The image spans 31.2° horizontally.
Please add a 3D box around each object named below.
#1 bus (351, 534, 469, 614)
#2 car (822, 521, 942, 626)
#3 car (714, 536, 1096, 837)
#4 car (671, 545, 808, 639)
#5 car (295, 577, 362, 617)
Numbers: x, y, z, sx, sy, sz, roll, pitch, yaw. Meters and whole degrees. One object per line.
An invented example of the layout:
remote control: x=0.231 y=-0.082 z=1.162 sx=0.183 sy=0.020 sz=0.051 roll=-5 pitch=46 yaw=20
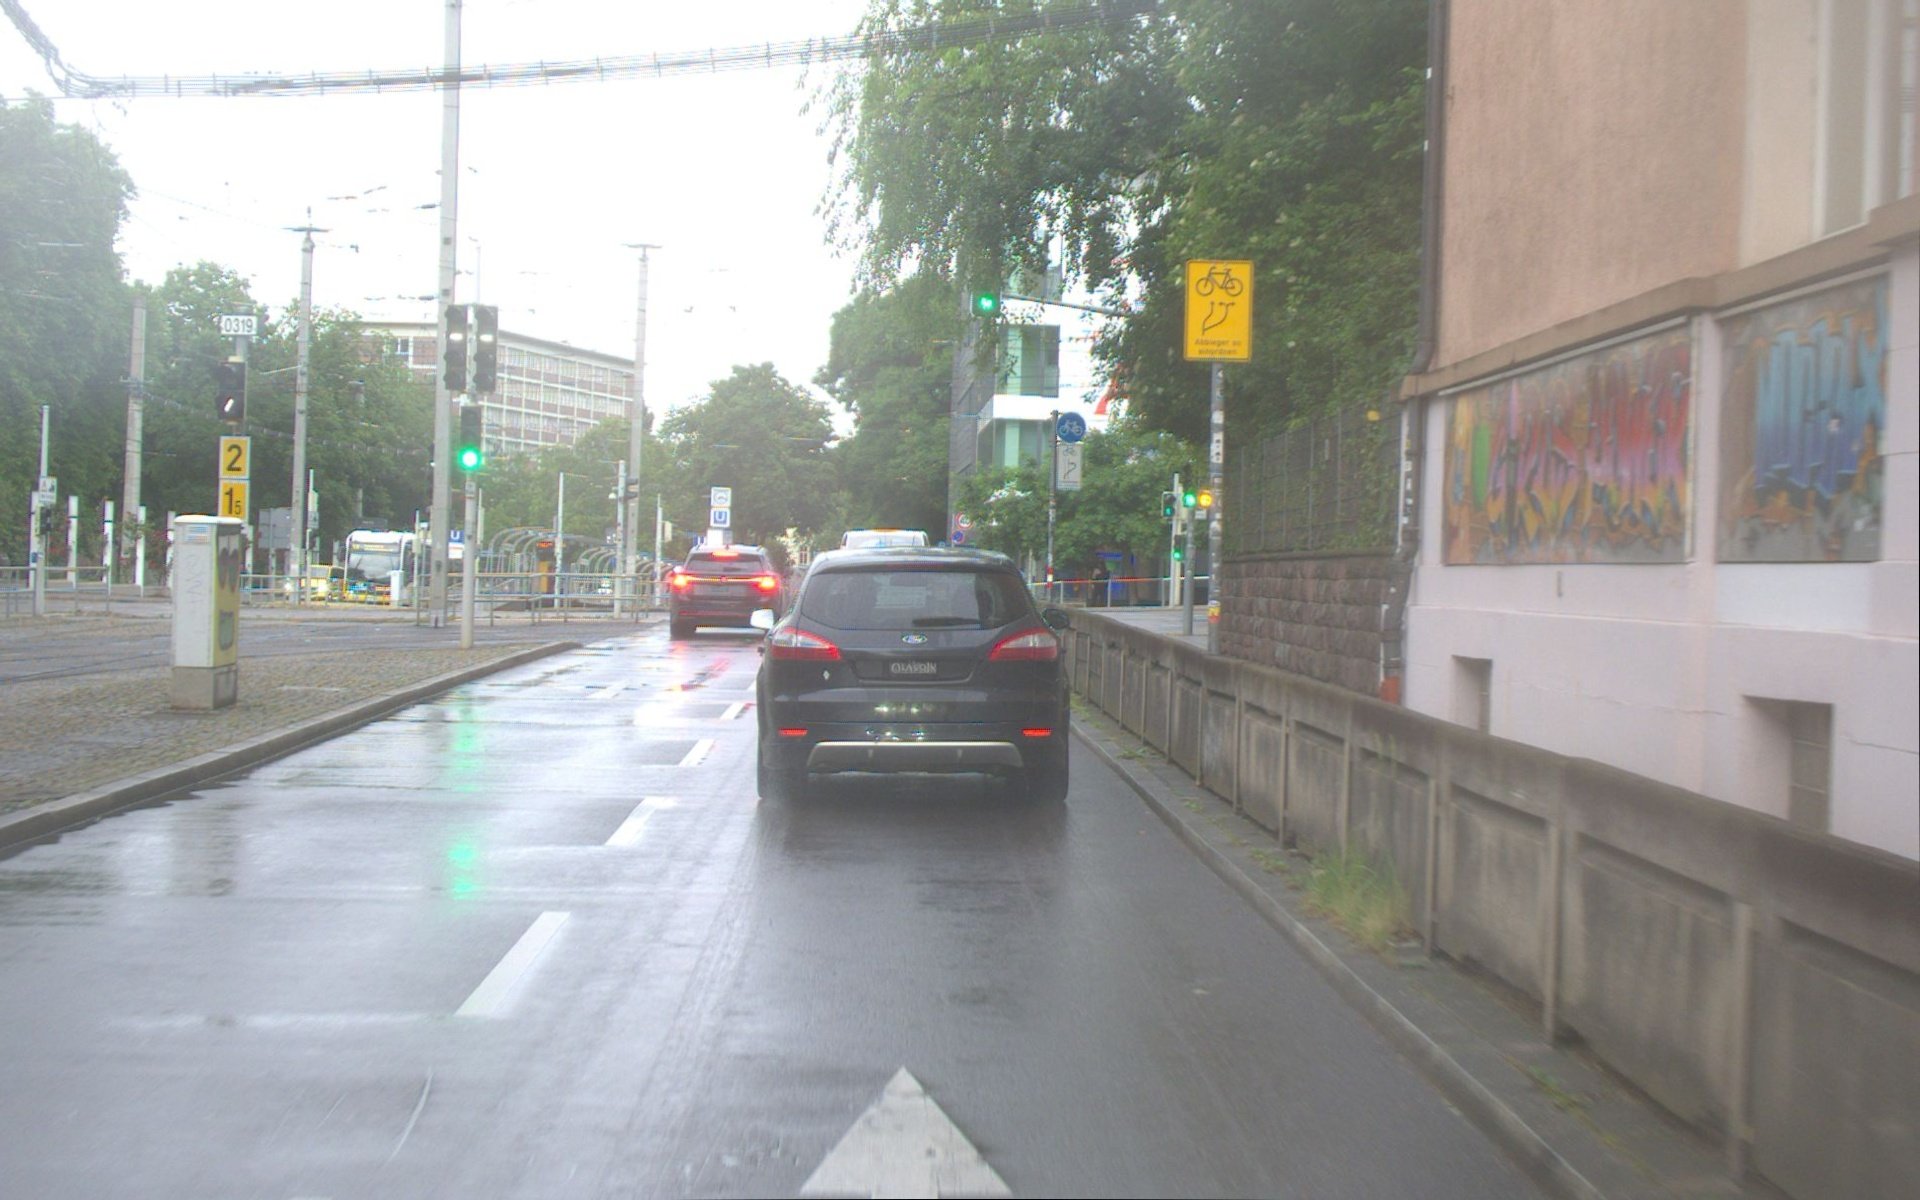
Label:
bus: x=-23.811 y=-1.134 z=149.511 sx=3.077 sy=3.289 sz=12.523 roll=1 pitch=0 yaw=0
car: x=-1.430 y=-0.514 z=64.826 sx=2.036 sy=1.833 sz=4.392 roll=2 pitch=1 yaw=1
car: x=-0.345 y=0.446 z=21.046 sx=2.036 sy=1.579 sz=4.392 roll=2 pitch=1 yaw=-1
car: x=-3.758 y=-0.148 z=57.956 sx=2.098 sy=1.500 sz=4.732 roll=1 pitch=0 yaw=-6
car: x=-26.679 y=-0.154 z=145.422 sx=1.993 sy=1.640 sz=4.537 roll=1 pitch=0 yaw=0
